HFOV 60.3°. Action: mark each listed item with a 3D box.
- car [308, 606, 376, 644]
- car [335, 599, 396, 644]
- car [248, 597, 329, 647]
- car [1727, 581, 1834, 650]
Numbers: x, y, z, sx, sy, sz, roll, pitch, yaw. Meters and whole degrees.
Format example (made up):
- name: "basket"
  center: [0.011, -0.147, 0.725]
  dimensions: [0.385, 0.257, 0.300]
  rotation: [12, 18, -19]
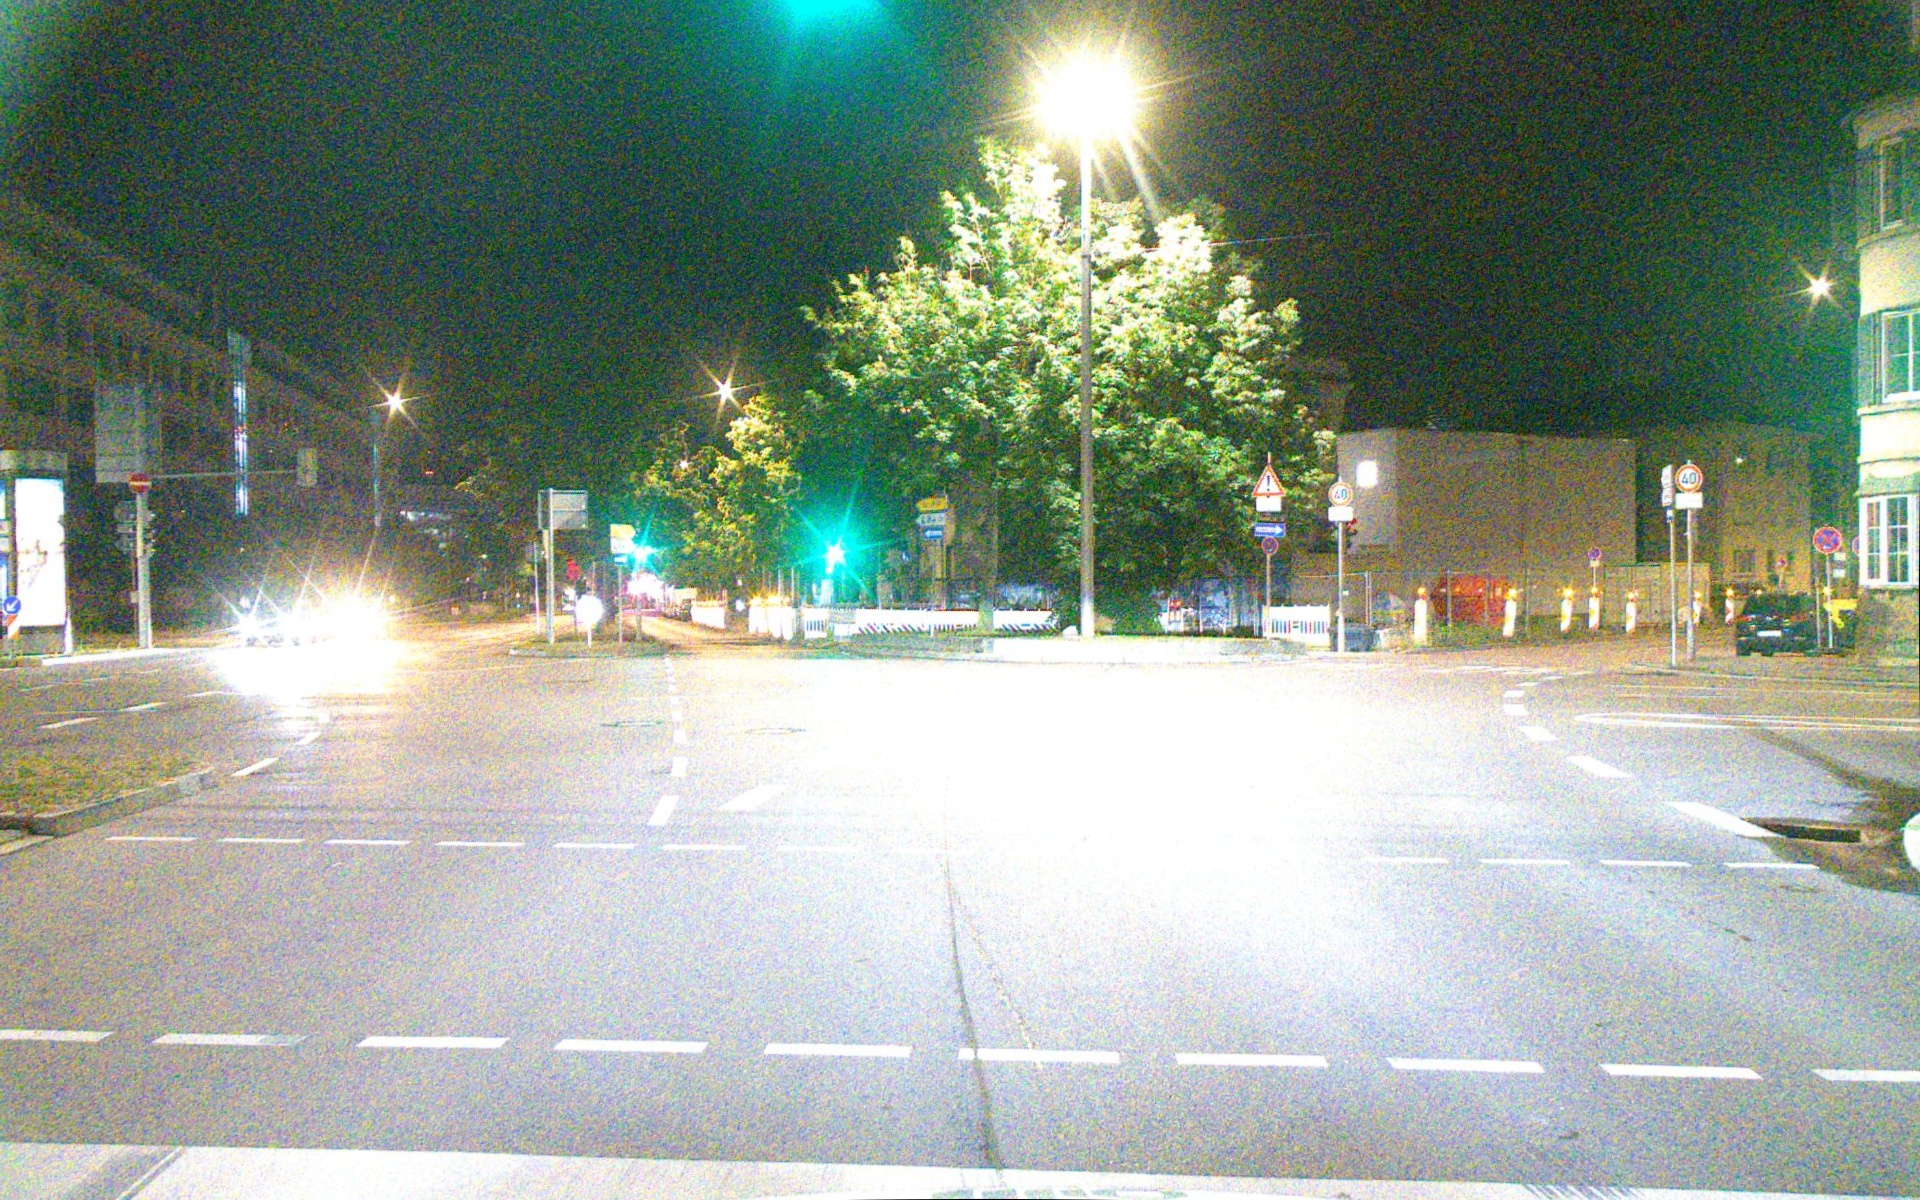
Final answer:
- name: "car"
  center: [-22.833, 0.927, 61.242]
  dimensions: [1.726, 1.345, 3.539]
  rotation: [0, -1, -10]
- name: "car"
  center: [-23.894, 0.857, 66.537]
  dimensions: [1.726, 1.758, 3.539]
  rotation: [0, -1, -10]
- name: "car"
  center: [-21.864, 0.711, 53.992]
  dimensions: [1.586, 1.541, 3.991]
  rotation: [0, -1, -9]
- name: "car"
  center: [20.527, 0.395, 41.314]
  dimensions: [1.700, 1.640, 3.607]
  rotation: [-1, -1, 38]
